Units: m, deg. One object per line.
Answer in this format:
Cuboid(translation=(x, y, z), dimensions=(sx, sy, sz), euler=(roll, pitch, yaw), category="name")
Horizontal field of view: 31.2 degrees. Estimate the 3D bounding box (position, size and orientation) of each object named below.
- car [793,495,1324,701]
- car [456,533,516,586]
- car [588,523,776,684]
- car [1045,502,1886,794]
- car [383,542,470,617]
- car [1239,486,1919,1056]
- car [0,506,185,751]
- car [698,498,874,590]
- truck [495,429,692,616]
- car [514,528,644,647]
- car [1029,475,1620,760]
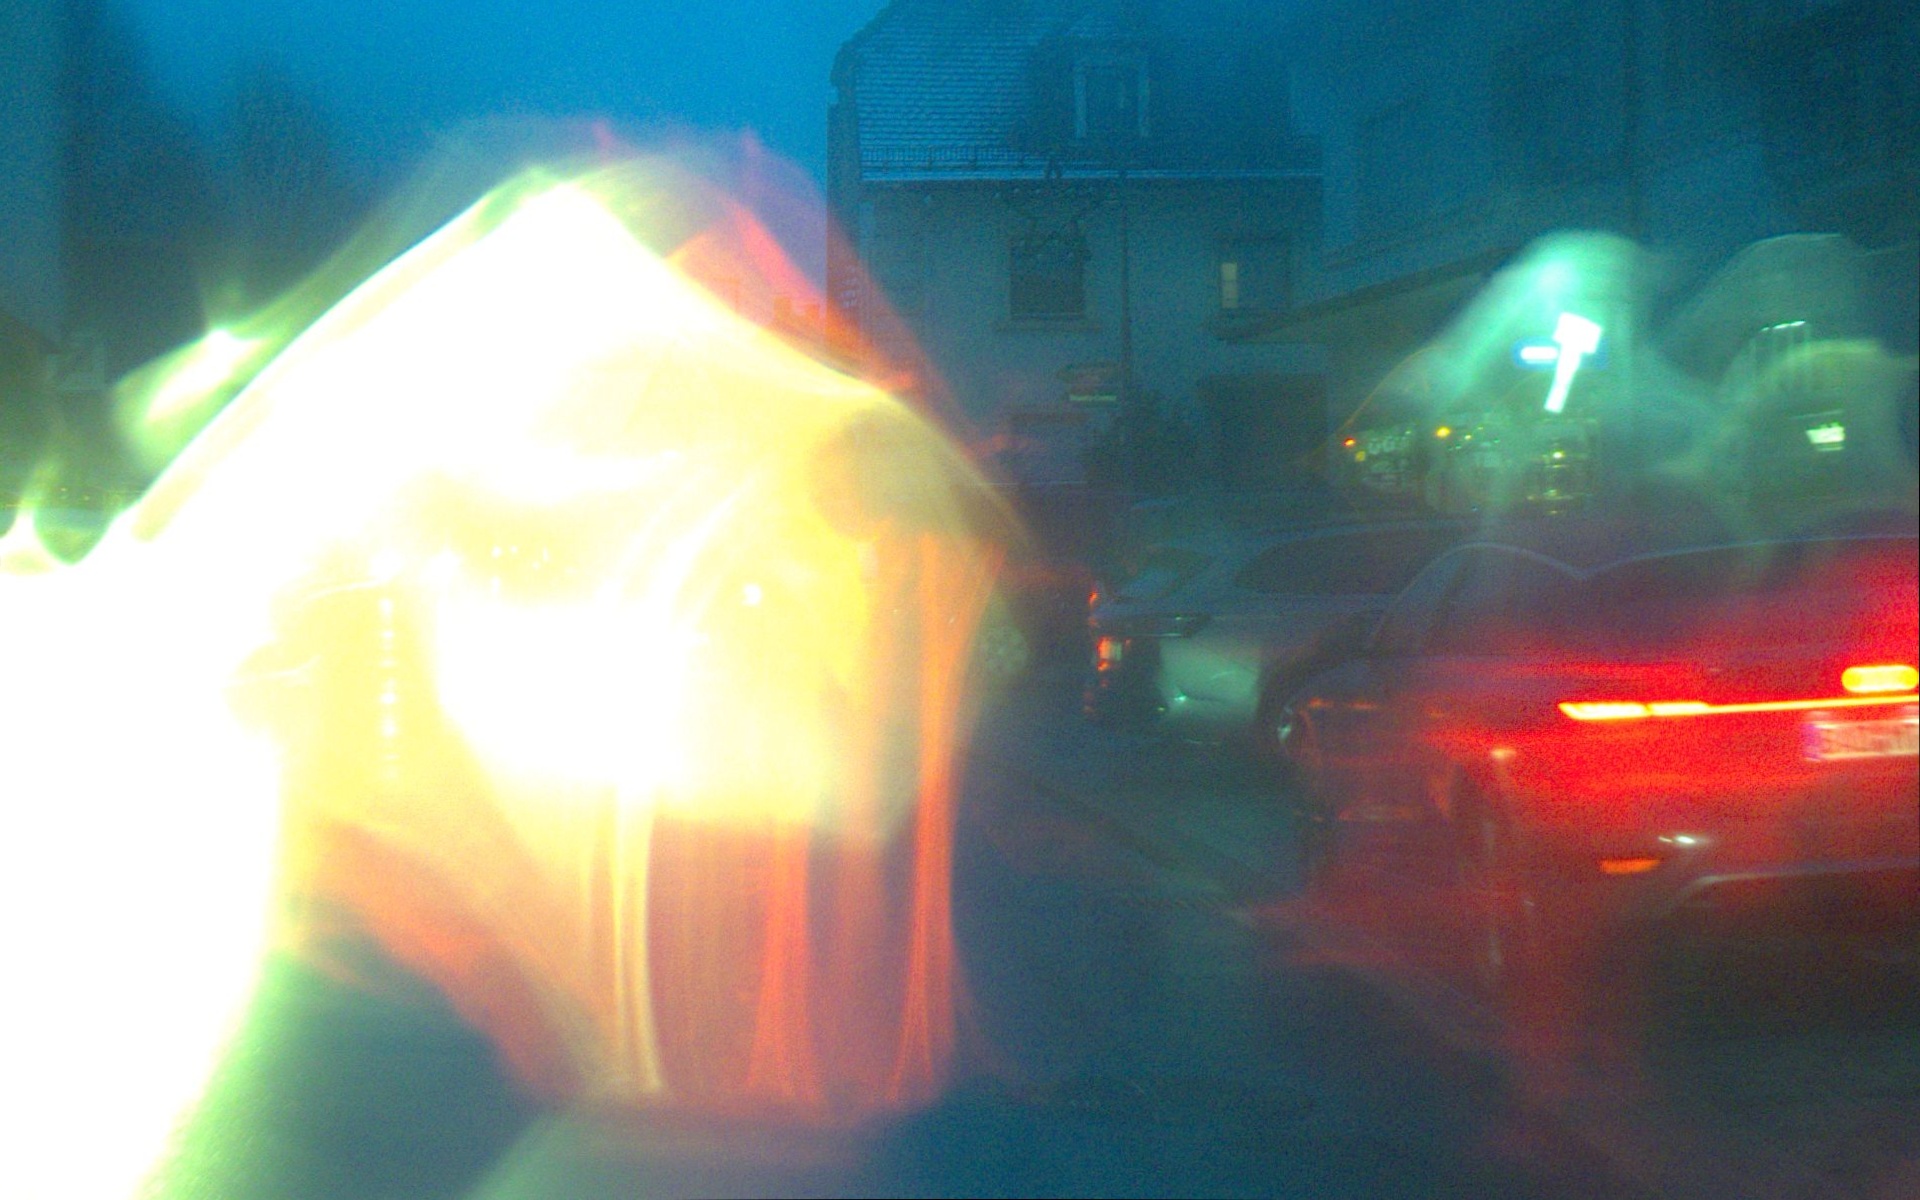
Cuboid(translation=(0.884, -0.054, 32.046), dimensions=(4.602, 1.769, 1.946), euler=(-1, 2, -11), category="car")
Cuboid(translation=(-14.746, -1.288, 107.032), dimensions=(1.810, 1.590, 4.400), euler=(0, 1, -8), category="car")
Cuboid(translation=(-2.759, 0.005, 33.566), dimensions=(1.637, 1.476, 3.380), euler=(1, 1, -8), category="car")
Cuboid(translation=(2.875, 0.230, 20.059), dimensions=(4.466, 1.468, 1.898), euler=(-2, 2, -8), category="car")
Cuboid(translation=(-11.309, -0.457, 73.042), dimensions=(1.637, 1.530, 3.407), euler=(0, 1, -6), category="car")
Cuboid(translation=(2.299, 0.405, 11.872), dimensions=(1.882, 1.541, 4.672), euler=(-2, 2, -5), category="car")
Cuboid(translation=(-6.763, 0.141, 25.099), dimensions=(1.794, 1.637, 3.813), euler=(1, 1, -7), category="car")
Cuboid(translation=(-4.105, -1.344, 81.668), dimensions=(4.097, 2.155, 1.913), euler=(0, 1, 0), category="car")
Cuboid(translation=(-6.710, -1.384, 61.951), dimensions=(3.014, 3.118, 8.002), euler=(0, 1, -10), category="truck")
Cuboid(translation=(-5.061, -0.190, 45.426), dimensions=(1.637, 1.476, 3.272), euler=(1, 1, -7), category="car")
Cuboid(translation=(2.390, 0.079, 22.935), dimensions=(3.503, 1.675, 1.716), euler=(-3, 2, -12), category="car")
